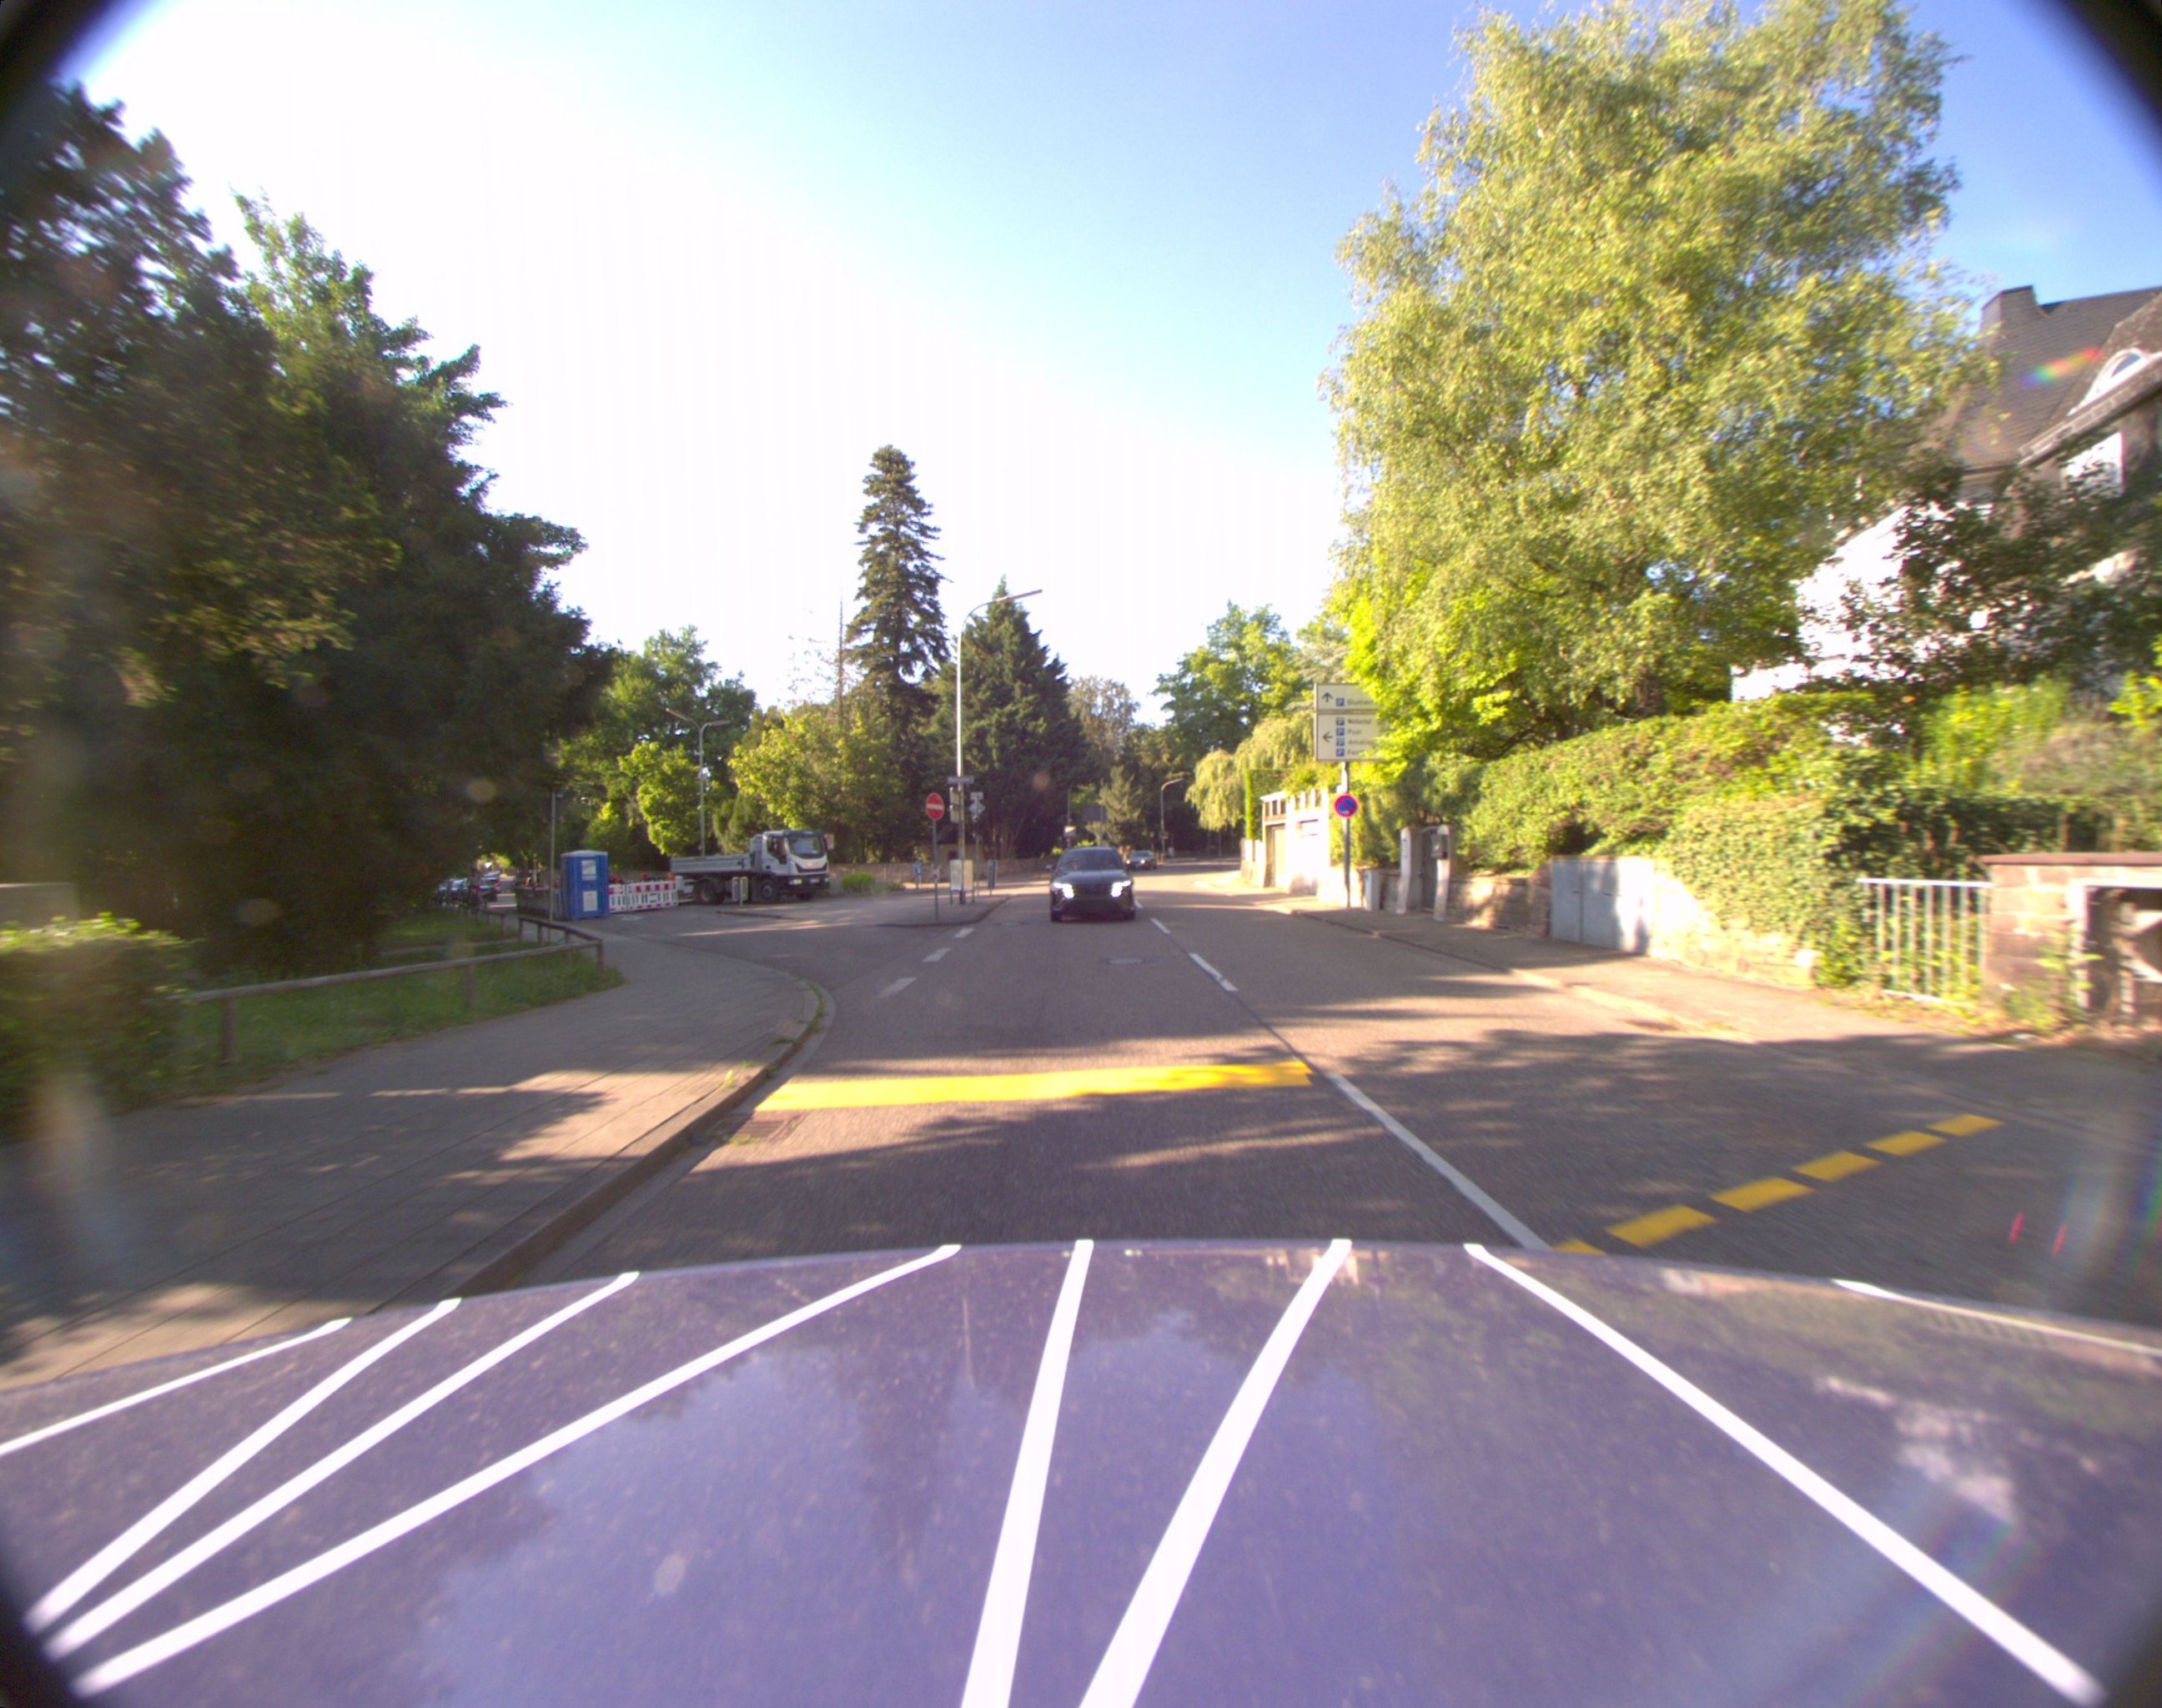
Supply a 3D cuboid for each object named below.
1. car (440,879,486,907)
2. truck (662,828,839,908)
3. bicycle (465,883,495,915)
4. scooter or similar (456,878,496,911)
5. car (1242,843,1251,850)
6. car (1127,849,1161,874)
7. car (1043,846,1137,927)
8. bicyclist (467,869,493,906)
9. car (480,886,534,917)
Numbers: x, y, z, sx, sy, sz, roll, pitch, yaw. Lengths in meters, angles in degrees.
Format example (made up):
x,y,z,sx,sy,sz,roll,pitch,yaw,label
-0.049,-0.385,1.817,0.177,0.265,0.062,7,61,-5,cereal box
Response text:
x,y,z,sx,sy,sz,roll,pitch,yaw,label
-47.893,2.978,58.848,3.989,2.002,2.004,-2,1,40,car
-13.313,0.582,30.594,6.594,2.878,2.436,-3,1,21,truck
-24.275,1.798,30.664,0.765,1.199,2.834,3,-4,-42,bicycle
-25.610,1.722,32.159,1.157,1.316,1.179,5,-5,-41,scooter or similar
35.210,-1.655,161.842,1.821,1.375,3.938,2,2,13,car
4.694,0.511,56.375,1.997,1.630,4.003,-3,0,11,car
0.225,0.665,18.149,1.936,1.676,4.432,-1,0,1,car
-24.204,1.361,30.600,0.762,1.476,0.642,3,-3,-42,bicyclist
-40.252,3.293,53.231,3.989,2.002,2.004,-2,1,38,car
